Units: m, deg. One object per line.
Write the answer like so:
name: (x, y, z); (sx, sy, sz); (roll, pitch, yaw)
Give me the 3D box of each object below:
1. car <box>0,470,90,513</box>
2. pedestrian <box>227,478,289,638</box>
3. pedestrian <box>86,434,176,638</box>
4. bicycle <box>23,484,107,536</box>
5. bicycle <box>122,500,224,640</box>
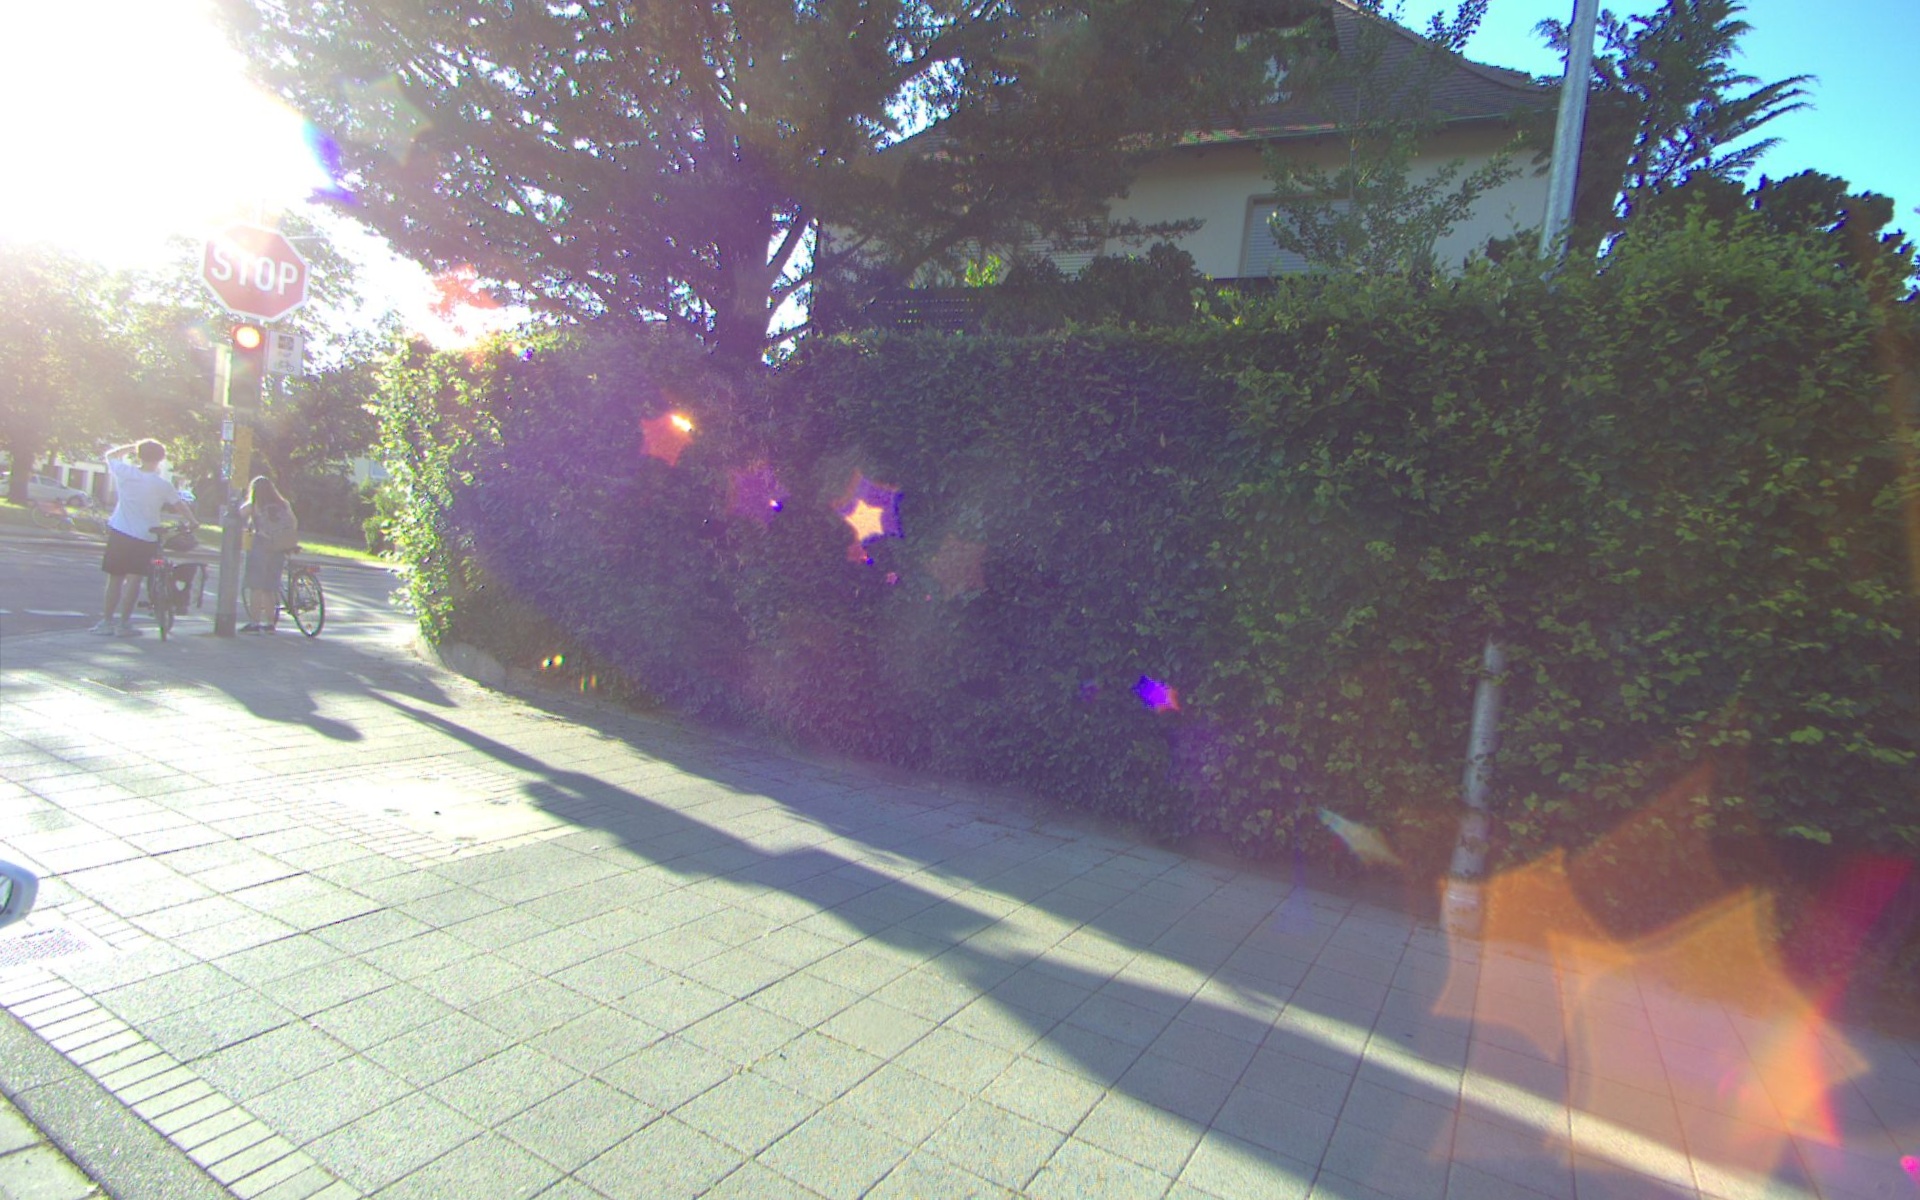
car: (-46.392, -5.443, 50.390); (1.497, 1.542, 3.933); (6, -2, 25)
pedestrian: (-7.343, -0.439, 10.521); (0.347, 1.604, 0.458); (8, -1, -37)
pedestrian: (-8.136, -0.615, 9.888); (0.624, 1.893, 0.765); (2, 5, -39)
bicycle: (-23.397, -2.351, 26.308); (0.460, 1.103, 1.520); (10, 2, 39)
bicycle: (-7.702, -0.320, 9.906); (0.569, 1.198, 1.887); (8, -1, -35)
